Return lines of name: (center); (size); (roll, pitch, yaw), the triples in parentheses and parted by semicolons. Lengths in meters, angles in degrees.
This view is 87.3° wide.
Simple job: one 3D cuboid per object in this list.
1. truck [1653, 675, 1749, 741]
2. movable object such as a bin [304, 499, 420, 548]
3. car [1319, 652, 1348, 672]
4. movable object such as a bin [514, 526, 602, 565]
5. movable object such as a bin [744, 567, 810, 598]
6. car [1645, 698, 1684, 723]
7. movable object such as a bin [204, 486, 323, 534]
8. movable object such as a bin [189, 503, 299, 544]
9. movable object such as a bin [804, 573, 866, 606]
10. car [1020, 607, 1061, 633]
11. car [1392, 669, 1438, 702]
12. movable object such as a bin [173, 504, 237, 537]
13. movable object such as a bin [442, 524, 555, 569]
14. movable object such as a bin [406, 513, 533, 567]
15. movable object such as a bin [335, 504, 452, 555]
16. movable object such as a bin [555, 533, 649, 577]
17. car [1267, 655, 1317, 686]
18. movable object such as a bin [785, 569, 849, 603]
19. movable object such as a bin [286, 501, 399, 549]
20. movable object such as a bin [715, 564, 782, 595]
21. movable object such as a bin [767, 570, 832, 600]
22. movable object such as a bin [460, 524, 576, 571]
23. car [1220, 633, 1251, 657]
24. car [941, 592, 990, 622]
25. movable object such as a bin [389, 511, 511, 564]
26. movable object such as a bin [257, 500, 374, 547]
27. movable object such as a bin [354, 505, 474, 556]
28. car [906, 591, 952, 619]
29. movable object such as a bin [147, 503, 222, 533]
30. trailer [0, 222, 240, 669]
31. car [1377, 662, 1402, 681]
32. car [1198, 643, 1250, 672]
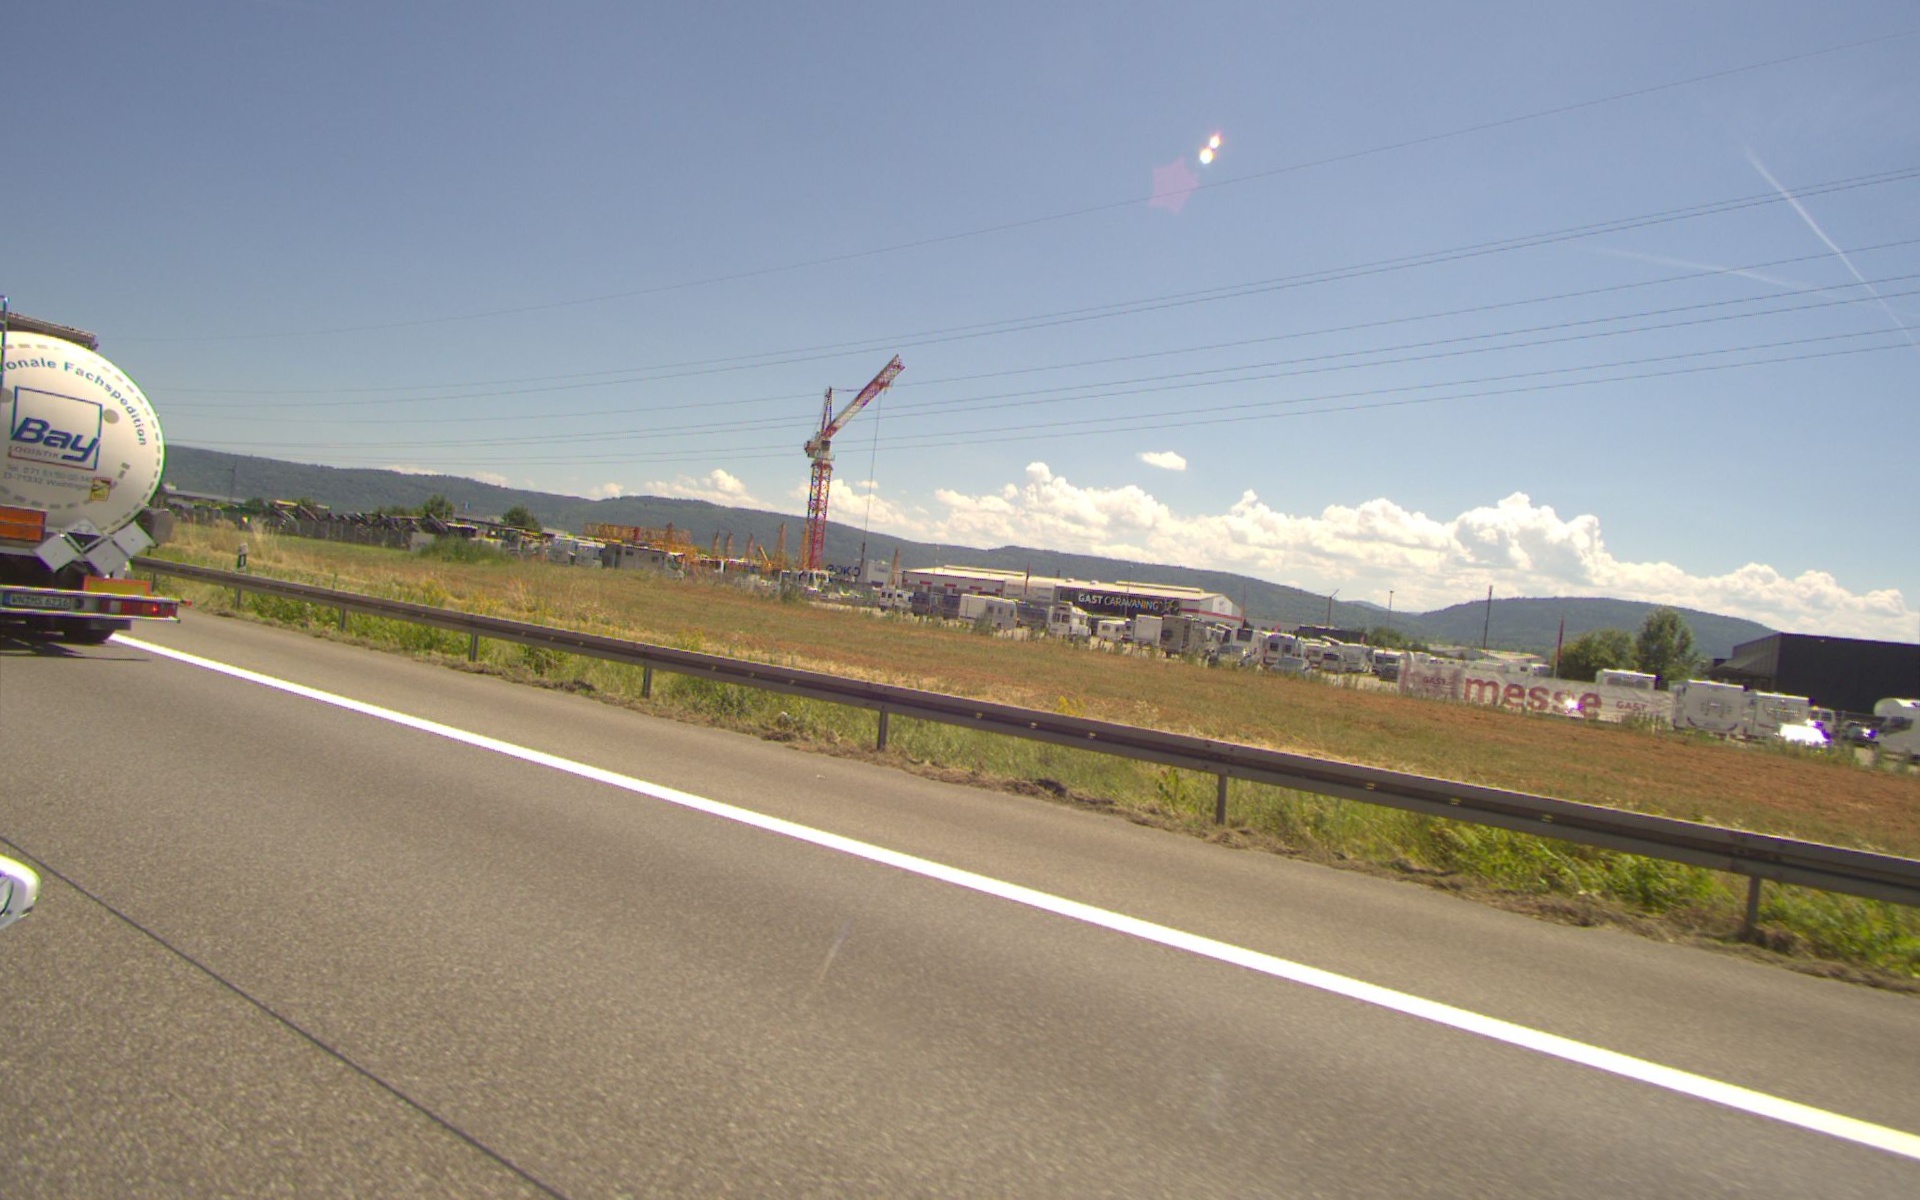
truck: (39.266, 5.647, 53.576); (2.558, 2.915, 7.757); (7, -1, 27)
movable object such as a bin: (-59.692, -7.567, 100.711); (2.634, 3.736, 9.724); (6, 1, 31)
car: (36.056, 6.017, 96.985); (1.893, 1.577, 3.995); (7, -1, 29)
movable object such as a bin: (-44.093, -5.922, 110.616); (2.877, 3.189, 8.685); (6, 0, 36)
movable object such as a bin: (-20.001, -1.908, 109.573); (6.695, 2.587, 2.915); (6, 1, 32)
car: (49.043, 7.691, 70.116); (1.670, 1.430, 3.995); (7, -1, 29)
movable object such as a bin: (-74.713, -9.572, 108.234); (2.620, 3.736, 10.261); (6, 1, 31)
movable object such as a bin: (-83.425, -8.890, 117.575); (10.182, 3.459, 2.499); (6, 1, -34)
movable object such as a bin: (-14.656, -1.228, 117.754); (6.695, 3.068, 2.914); (6, 1, 32)
car: (9.052, 2.288, 113.267); (2.397, 2.388, 5.113); (7, 0, 30)
car: (21.787, 4.054, 48.148); (1.559, 1.314, 3.897); (7, 0, 29)
movable object such as a bin: (-91.347, -9.621, 121.718); (5.809, 3.237, 2.490); (5, 1, -44)
movable object such as a bin: (-41.301, -4.727, 90.384); (2.911, 3.045, 8.721); (7, 1, 37)
movable object such as a bin: (-44.587, -5.397, 91.803); (3.367, 3.736, 9.709); (7, 1, 37)
movable object such as a bin: (-55.375, -6.838, 98.615); (2.591, 3.736, 9.719); (6, 1, 33)
movable object such as a bin: (-37.740, -4.697, 106.413); (2.877, 3.617, 9.039); (6, 0, 36)
car: (16.751, 3.546, 50.679); (1.559, 1.314, 3.897); (7, 0, 29)
movable object such as a bin: (-16.317, -1.607, 114.921); (6.695, 3.068, 2.914); (6, 1, 32)
movable object such as a bin: (-64.172, -7.723, 104.905); (2.634, 3.736, 9.724); (6, 1, 31)
movable object such as a bin: (-22.376, -2.204, 106.392); (6.695, 2.587, 2.915); (6, 1, 32)
movable object such as a bin: (-17.927, -1.643, 112.102); (6.695, 2.587, 2.915); (6, 1, 32)
movable object such as a bin: (-38.654, -4.566, 88.290); (3.166, 3.045, 8.720); (6, 1, 38)
car: (27.771, 4.543, 101.338); (1.893, 2.011, 3.995); (7, -1, 29)
car: (0.618, 0.710, 99.096); (2.397, 2.388, 5.113); (7, 0, 30)
movable object such as a bin: (-47.394, -5.737, 93.857); (2.931, 3.736, 9.709); (7, 1, 37)
movable object such as a bin: (-67.716, -7.974, 106.007); (2.354, 3.736, 10.261); (6, 1, 31)
movable object such as a bin: (-52.283, -6.585, 96.718); (2.928, 3.736, 9.719); (7, 1, 33)
car: (-3.086, 0.510, 101.825); (2.209, 2.272, 4.902); (7, 0, 30)
movable object such as a bin: (-95.066, -10.005, 123.393); (6.856, 2.723, 3.138); (6, 1, -44)
trailer: (-13.525, -1.955, 12.842); (10.918, 4.121, 2.585); (7, -2, 31)
car: (40.722, 6.808, 95.374); (1.670, 1.490, 3.995); (7, -1, 29)
car: (13.883, 3.038, 52.781); (1.559, 1.314, 3.897); (7, 0, 29)
